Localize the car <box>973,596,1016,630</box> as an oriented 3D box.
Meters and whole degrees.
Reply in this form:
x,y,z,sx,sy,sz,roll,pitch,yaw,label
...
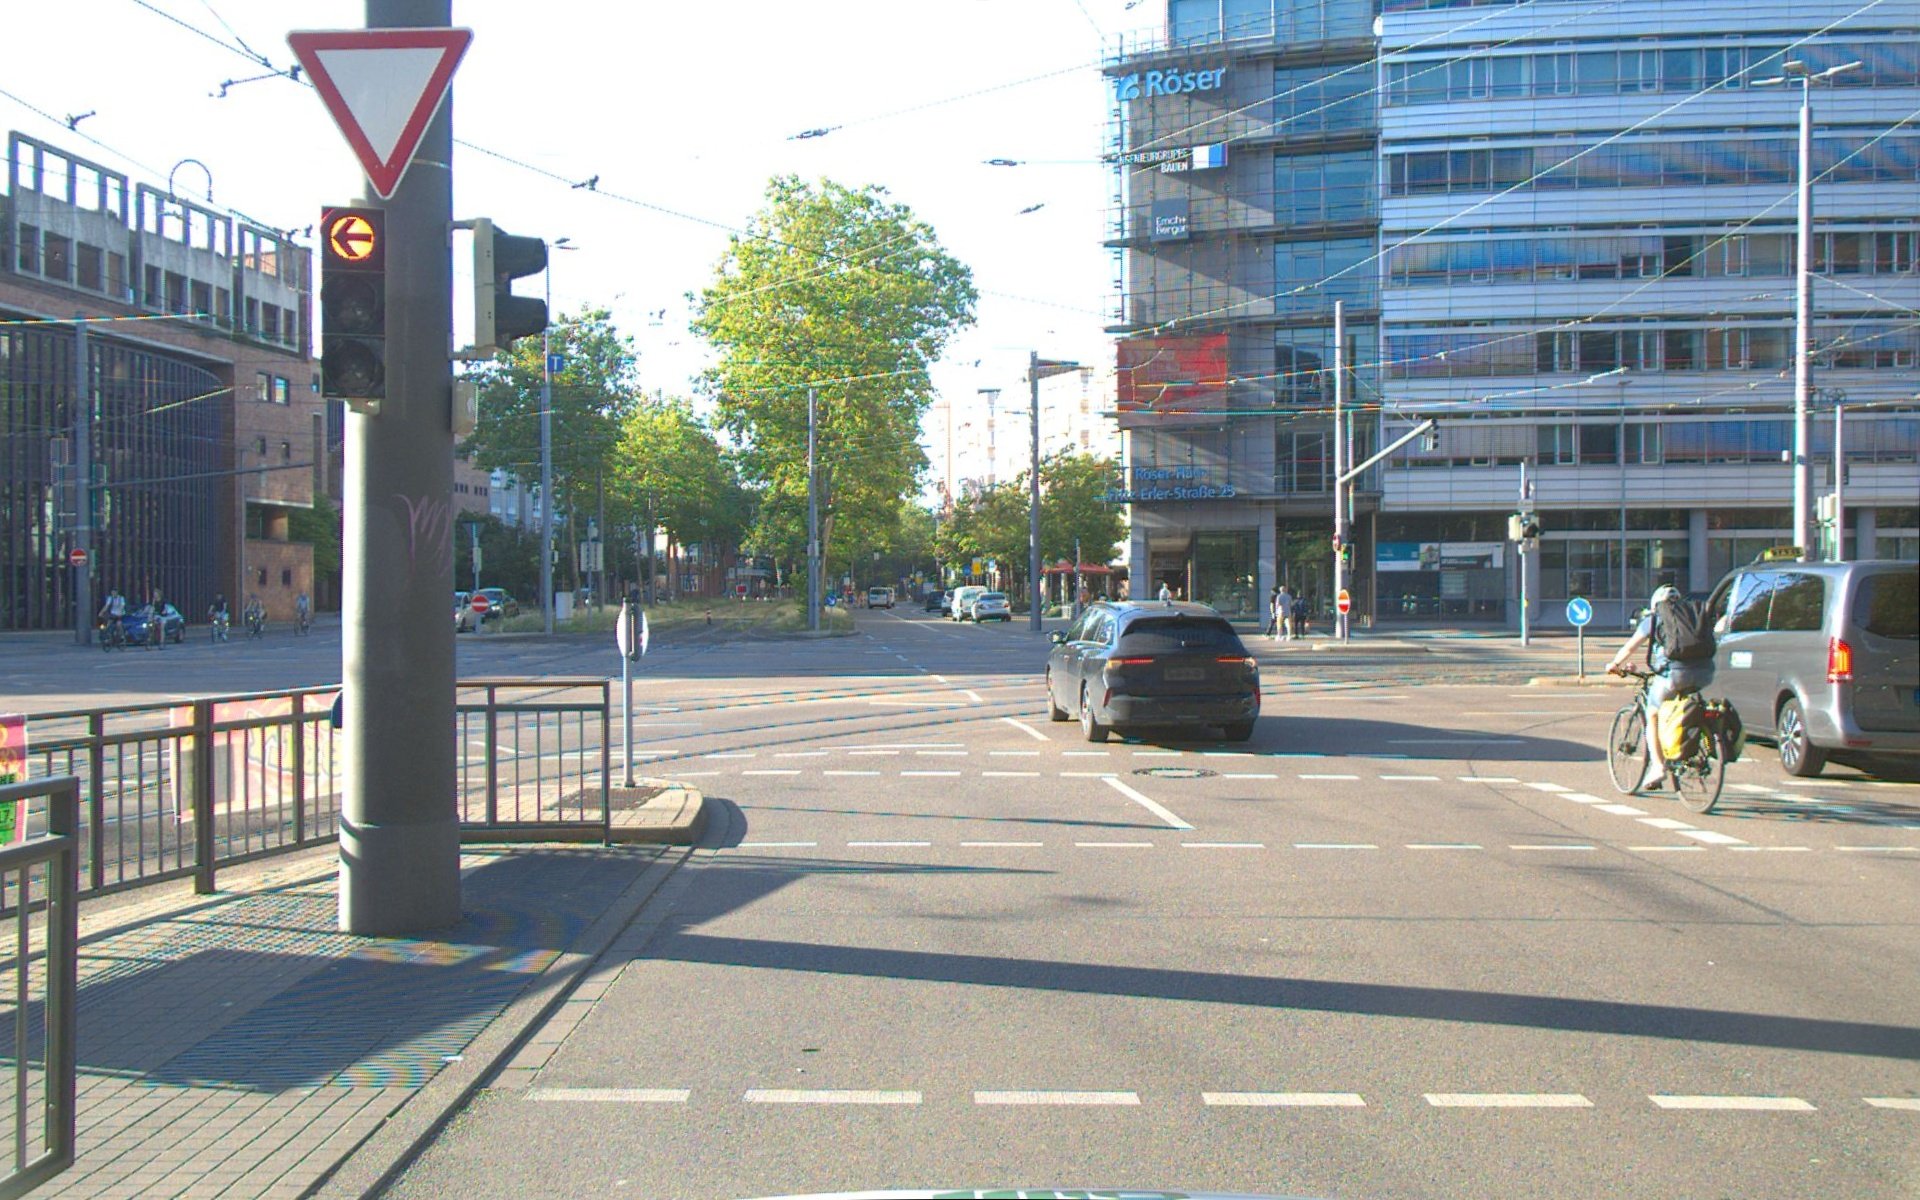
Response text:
x,y,z,sx,sy,sz,roll,pitch,yaw,label
1.684,0.623,82.817,1.988,1.624,3.999,1,0,-1,car

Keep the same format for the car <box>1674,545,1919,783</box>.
x,y,z,sx,sy,sz,roll,pitch,yaw,label
8.440,0.499,15.770,1.958,1.929,4.887,0,1,11,car

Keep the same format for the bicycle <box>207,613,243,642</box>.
x,y,z,sx,sy,sz,roll,pitch,yaw,label
-26.437,0.986,59.518,0.680,1.016,1.898,-1,0,-8,bicycle

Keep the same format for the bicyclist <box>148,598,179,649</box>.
x,y,z,sx,sy,sz,roll,pitch,yaw,label
-25.254,0.728,52.456,0.669,1.587,0.757,-1,0,-10,bicyclist

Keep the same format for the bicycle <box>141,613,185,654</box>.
x,y,z,sx,sy,sz,roll,pitch,yaw,label
-25.245,1.035,52.432,0.672,1.162,2.106,-1,2,-9,bicycle

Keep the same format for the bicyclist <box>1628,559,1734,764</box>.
x,y,z,sx,sy,sz,roll,pitch,yaw,label
5.322,0.438,12.232,0.477,1.464,0.615,1,0,-1,bicyclist

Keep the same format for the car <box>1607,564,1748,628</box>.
x,y,z,sx,sy,sz,roll,pitch,yaw,label
24.296,-0.121,56.101,3.906,2.049,2.000,1,0,-1,car

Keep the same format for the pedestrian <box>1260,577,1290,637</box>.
x,y,z,sx,sy,sz,roll,pitch,yaw,label
10.947,0.242,57.542,0.832,2.049,0.707,1,-1,-4,pedestrian

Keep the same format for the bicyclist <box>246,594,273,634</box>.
x,y,z,sx,sy,sz,roll,pitch,yaw,label
-26.751,0.529,63.174,0.640,1.500,1.031,0,0,-6,bicyclist

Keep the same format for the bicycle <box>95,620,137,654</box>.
x,y,z,sx,sy,sz,roll,pitch,yaw,label
-26.409,1.151,51.781,0.641,1.016,1.896,-1,0,-11,bicycle

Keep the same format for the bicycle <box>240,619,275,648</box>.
x,y,z,sx,sy,sz,roll,pitch,yaw,label
-26.717,1.250,62.908,0.639,1.068,2.010,0,0,-6,bicycle

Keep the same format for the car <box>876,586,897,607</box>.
x,y,z,sx,sy,sz,roll,pitch,yaw,label
-7.269,-0.357,163.931,1.953,2.049,3.998,1,0,-2,car

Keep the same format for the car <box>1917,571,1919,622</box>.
x,y,z,sx,sy,sz,roll,pitch,yaw,label
31.149,-0.079,49.516,3.903,1.579,1.798,1,0,4,car

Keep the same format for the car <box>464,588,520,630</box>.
x,y,z,sx,sy,sz,roll,pitch,yaw,label
-21.123,0.384,74.732,1.787,1.821,3.994,-1,0,-7,car

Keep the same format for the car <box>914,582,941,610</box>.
x,y,z,sx,sy,sz,roll,pitch,yaw,label
-2.466,-0.302,126.575,1.953,2.049,3.999,1,0,-1,car

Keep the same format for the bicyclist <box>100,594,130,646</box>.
x,y,z,sx,sy,sz,roll,pitch,yaw,label
-26.387,0.626,51.653,0.649,1.602,0.756,-1,0,-11,bicyclist

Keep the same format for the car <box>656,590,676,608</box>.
x,y,z,sx,sy,sz,roll,pitch,yaw,label
-28.613,-0.102,160.871,1.644,1.635,3.994,1,0,-7,car

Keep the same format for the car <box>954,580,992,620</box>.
x,y,z,sx,sy,sz,roll,pitch,yaw,label
0.682,0.005,89.548,1.953,2.049,3.999,1,0,-1,car

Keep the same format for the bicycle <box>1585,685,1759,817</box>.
x,y,z,sx,sy,sz,roll,pitch,yaw,label
5.308,1.100,12.445,0.481,0.802,1.861,1,1,-1,bicycle

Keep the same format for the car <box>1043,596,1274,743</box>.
x,y,z,sx,sy,sz,roll,pitch,yaw,label
2.061,0.679,18.362,1.729,1.429,4.292,0,0,-5,car

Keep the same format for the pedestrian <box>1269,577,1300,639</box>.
x,y,z,sx,sy,sz,roll,pitch,yaw,label
10.951,0.274,55.781,0.852,2.049,0.793,1,-1,-1,pedestrian

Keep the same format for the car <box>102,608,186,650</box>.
x,y,z,sx,sy,sz,roll,pitch,yaw,label
-28.990,0.997,58.868,1.551,1.400,3.709,-1,0,-8,car

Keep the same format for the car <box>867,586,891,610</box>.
x,y,z,sx,sy,sz,roll,pitch,yaw,label
-7.161,-0.156,146.582,1.952,2.049,3.999,1,-2,0,car

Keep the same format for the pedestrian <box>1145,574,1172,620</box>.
x,y,z,sx,sy,sz,roll,pitch,yaw,label
9.829,-0.157,81.924,1.285,2.228,1.171,1,-1,5,pedestrian

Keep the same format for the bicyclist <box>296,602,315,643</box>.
x,y,z,sx,sy,sz,roll,pitch,yaw,label
-27.146,0.930,68.584,0.575,1.654,0.514,-1,0,-6,bicyclist

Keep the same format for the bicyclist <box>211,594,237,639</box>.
x,y,z,sx,sy,sz,roll,pitch,yaw,label
-26.418,0.588,59.409,0.648,1.597,0.757,-1,0,-8,bicyclist

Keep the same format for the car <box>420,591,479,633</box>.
x,y,z,sx,sy,sz,roll,pitch,yaw,label
-20.627,0.455,66.957,1.591,1.604,3.994,-1,0,-7,car

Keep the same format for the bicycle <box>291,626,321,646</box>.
x,y,z,sx,sy,sz,roll,pitch,yaw,label
-27.142,1.477,68.654,0.578,0.784,1.966,-1,0,-5,bicycle
